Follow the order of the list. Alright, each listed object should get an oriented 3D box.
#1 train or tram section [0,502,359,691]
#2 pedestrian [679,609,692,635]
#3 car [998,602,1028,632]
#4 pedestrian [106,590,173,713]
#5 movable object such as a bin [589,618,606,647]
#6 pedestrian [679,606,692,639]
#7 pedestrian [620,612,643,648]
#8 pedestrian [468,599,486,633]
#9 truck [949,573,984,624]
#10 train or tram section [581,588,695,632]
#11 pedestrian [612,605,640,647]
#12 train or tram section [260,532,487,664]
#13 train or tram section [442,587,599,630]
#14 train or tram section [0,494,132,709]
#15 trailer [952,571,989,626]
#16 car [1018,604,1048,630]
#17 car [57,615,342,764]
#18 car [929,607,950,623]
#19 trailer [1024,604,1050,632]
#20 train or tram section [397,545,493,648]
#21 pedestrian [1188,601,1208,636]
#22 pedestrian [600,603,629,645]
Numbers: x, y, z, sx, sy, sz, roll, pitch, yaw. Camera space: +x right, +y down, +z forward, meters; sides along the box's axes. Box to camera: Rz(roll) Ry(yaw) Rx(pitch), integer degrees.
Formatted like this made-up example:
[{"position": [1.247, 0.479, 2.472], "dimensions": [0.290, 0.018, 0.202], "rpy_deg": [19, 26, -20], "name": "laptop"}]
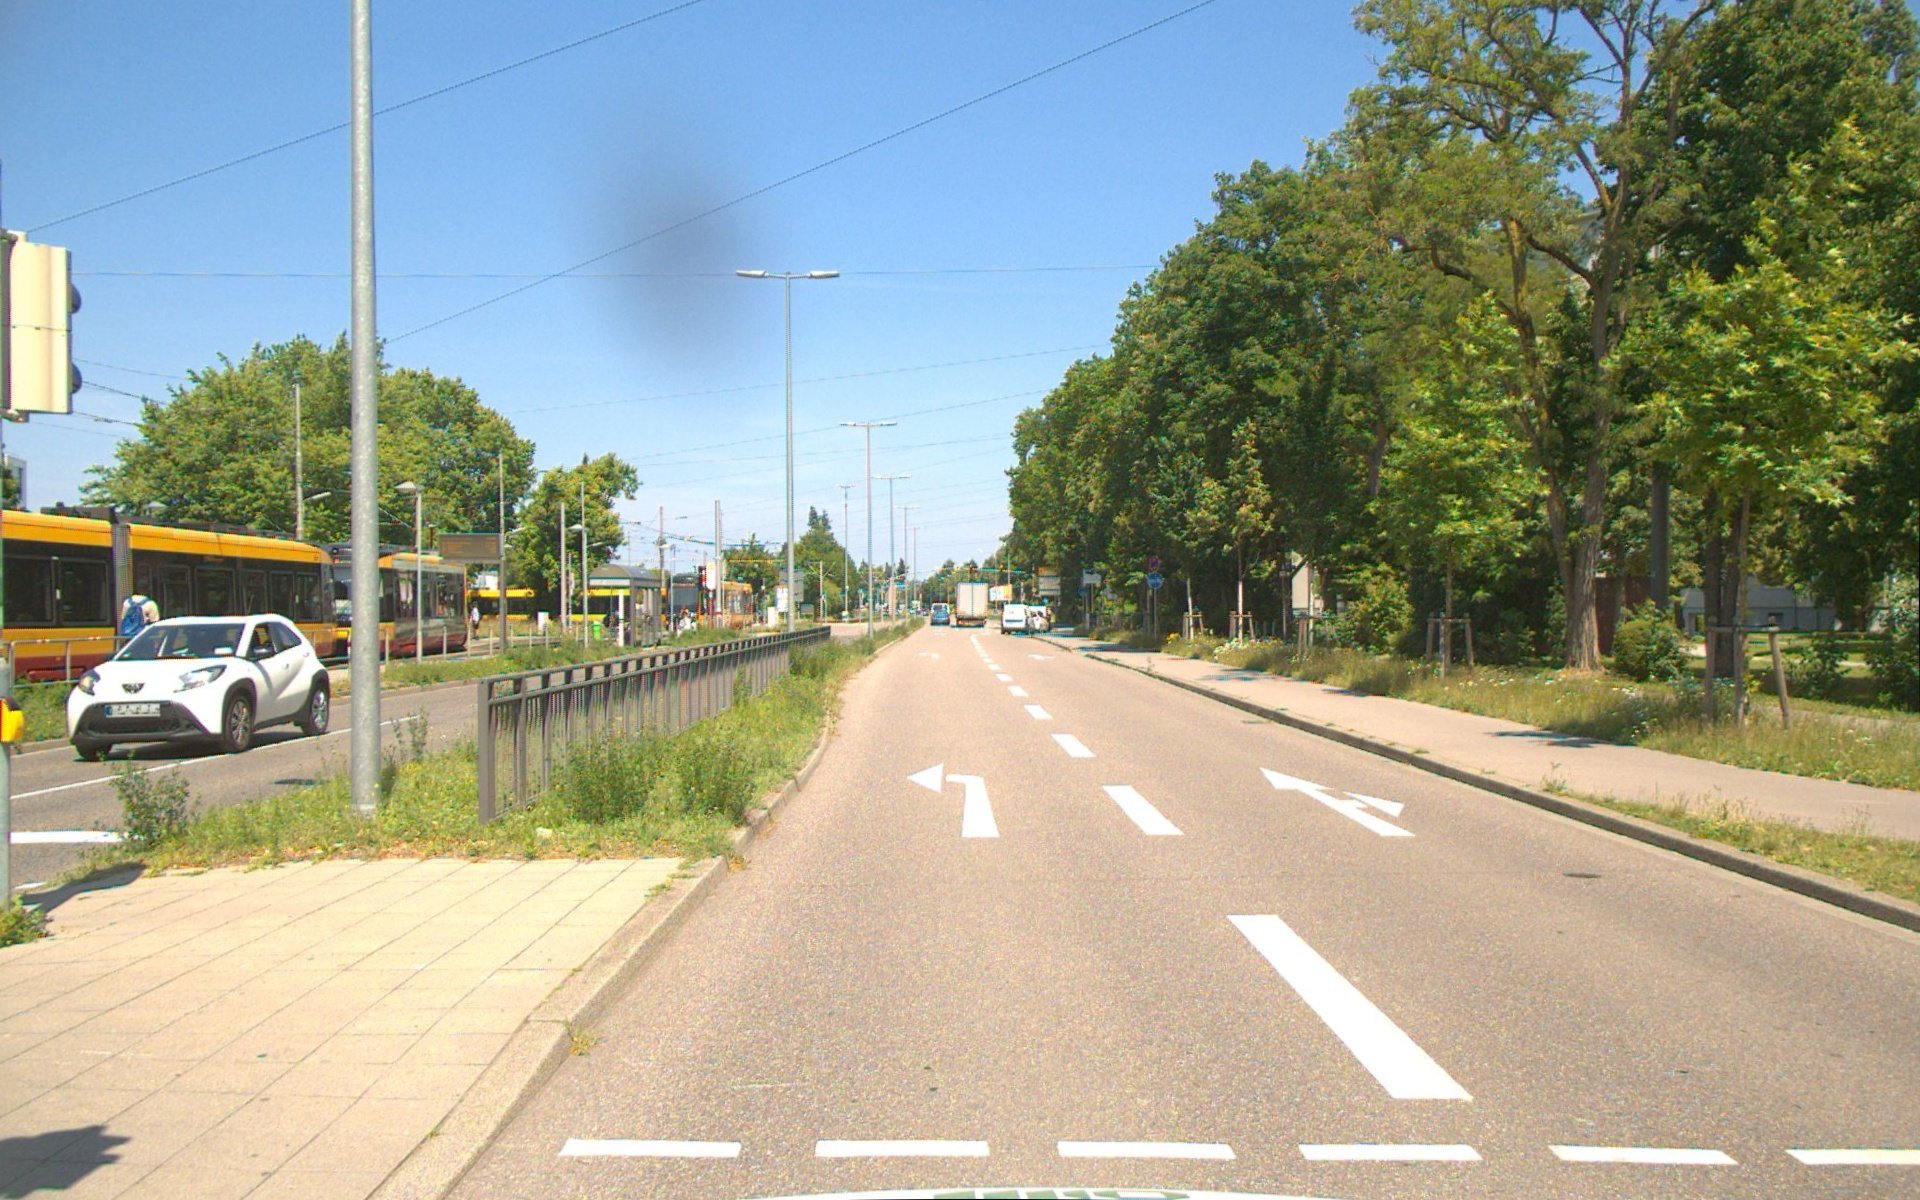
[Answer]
[{"position": [-18.629, -0.066, 40.516], "dimensions": [2.981, 3.833, 13.260], "rpy_deg": [1, 0, 0], "name": "train or tram section"}, {"position": [-13.009, 1.054, 78.396], "dimensions": [0.569, 1.210, 0.536], "rpy_deg": [1, 0, -5], "name": "pedestrian"}, {"position": [3.241, 1.000, 100.462], "dimensions": [1.674, 1.778, 4.429], "rpy_deg": [1, 0, 3], "name": "car"}, {"position": [-12.445, 0.773, 25.112], "dimensions": [0.619, 1.822, 0.776], "rpy_deg": [1, 0, -2], "name": "pedestrian"}, {"position": [-12.530, 1.123, 57.134], "dimensions": [0.472, 0.995, 0.644], "rpy_deg": [0, 0, -5], "name": "movable object such as a bin"}, {"position": [-13.229, 1.075, 79.781], "dimensions": [0.524, 1.593, 0.582], "rpy_deg": [1, 0, -2], "name": "pedestrian"}, {"position": [-12.100, 1.092, 60.963], "dimensions": [0.687, 1.306, 0.839], "rpy_deg": [1, 0, -3], "name": "pedestrian"}, {"position": [-23.161, 0.771, 79.244], "dimensions": [0.788, 1.593, 0.534], "rpy_deg": [1, 0, -15], "name": "pedestrian"}, {"position": [0.555, -0.159, 150.452], "dimensions": [2.770, 4.420, 8.281], "rpy_deg": [2, 0, -2], "name": "truck"}, {"position": [-27.395, 0.795, 140.003], "dimensions": [3.024, 3.526, 12.540], "rpy_deg": [1, 0, -45], "name": "train or tram section"}, {"position": [-12.627, 0.969, 62.576], "dimensions": [0.856, 1.573, 1.025], "rpy_deg": [1, 0, -3], "name": "pedestrian"}, {"position": [-18.688, -0.051, 54.023], "dimensions": [2.983, 3.688, 13.890], "rpy_deg": [1, 0, -3], "name": "train or tram section"}, {"position": [-38.659, 0.740, 145.665], "dimensions": [12.947, 3.526, 3.047], "rpy_deg": [1, 0, 2], "name": "train or tram section"}, {"position": [-18.490, 0.002, 27.726], "dimensions": [2.982, 3.807, 12.593], "rpy_deg": [1, 0, -1], "name": "train or tram section"}, {"position": [0.832, -0.122, 142.003], "dimensions": [2.770, 4.499, 8.745], "rpy_deg": [1, 0, -2], "name": "trailer"}, {"position": [4.867, 1.130, 110.608], "dimensions": [1.665, 1.683, 4.397], "rpy_deg": [1, 0, -2], "name": "car"}, {"position": [-8.714, 0.955, 19.304], "dimensions": [1.734, 1.531, 3.718], "rpy_deg": [0, 0, -2], "name": "car"}, {"position": [-1.912, 1.365, 152.944], "dimensions": [1.854, 1.396, 4.429], "rpy_deg": [2, 0, -1], "name": "car"}, {"position": [4.990, 1.153, 106.969], "dimensions": [1.439, 1.698, 2.855], "rpy_deg": [1, 0, -2], "name": "trailer"}, {"position": [-20.270, -0.136, 65.722], "dimensions": [2.993, 3.688, 12.403], "rpy_deg": [1, 0, -15], "name": "train or tram section"}, {"position": [9.982, 0.772, 69.407], "dimensions": [0.693, 1.422, 0.763], "rpy_deg": [1, 0, 0], "name": "pedestrian"}, {"position": [-13.292, 0.925, 63.696], "dimensions": [0.912, 1.573, 0.985], "rpy_deg": [1, 0, -3], "name": "pedestrian"}]
